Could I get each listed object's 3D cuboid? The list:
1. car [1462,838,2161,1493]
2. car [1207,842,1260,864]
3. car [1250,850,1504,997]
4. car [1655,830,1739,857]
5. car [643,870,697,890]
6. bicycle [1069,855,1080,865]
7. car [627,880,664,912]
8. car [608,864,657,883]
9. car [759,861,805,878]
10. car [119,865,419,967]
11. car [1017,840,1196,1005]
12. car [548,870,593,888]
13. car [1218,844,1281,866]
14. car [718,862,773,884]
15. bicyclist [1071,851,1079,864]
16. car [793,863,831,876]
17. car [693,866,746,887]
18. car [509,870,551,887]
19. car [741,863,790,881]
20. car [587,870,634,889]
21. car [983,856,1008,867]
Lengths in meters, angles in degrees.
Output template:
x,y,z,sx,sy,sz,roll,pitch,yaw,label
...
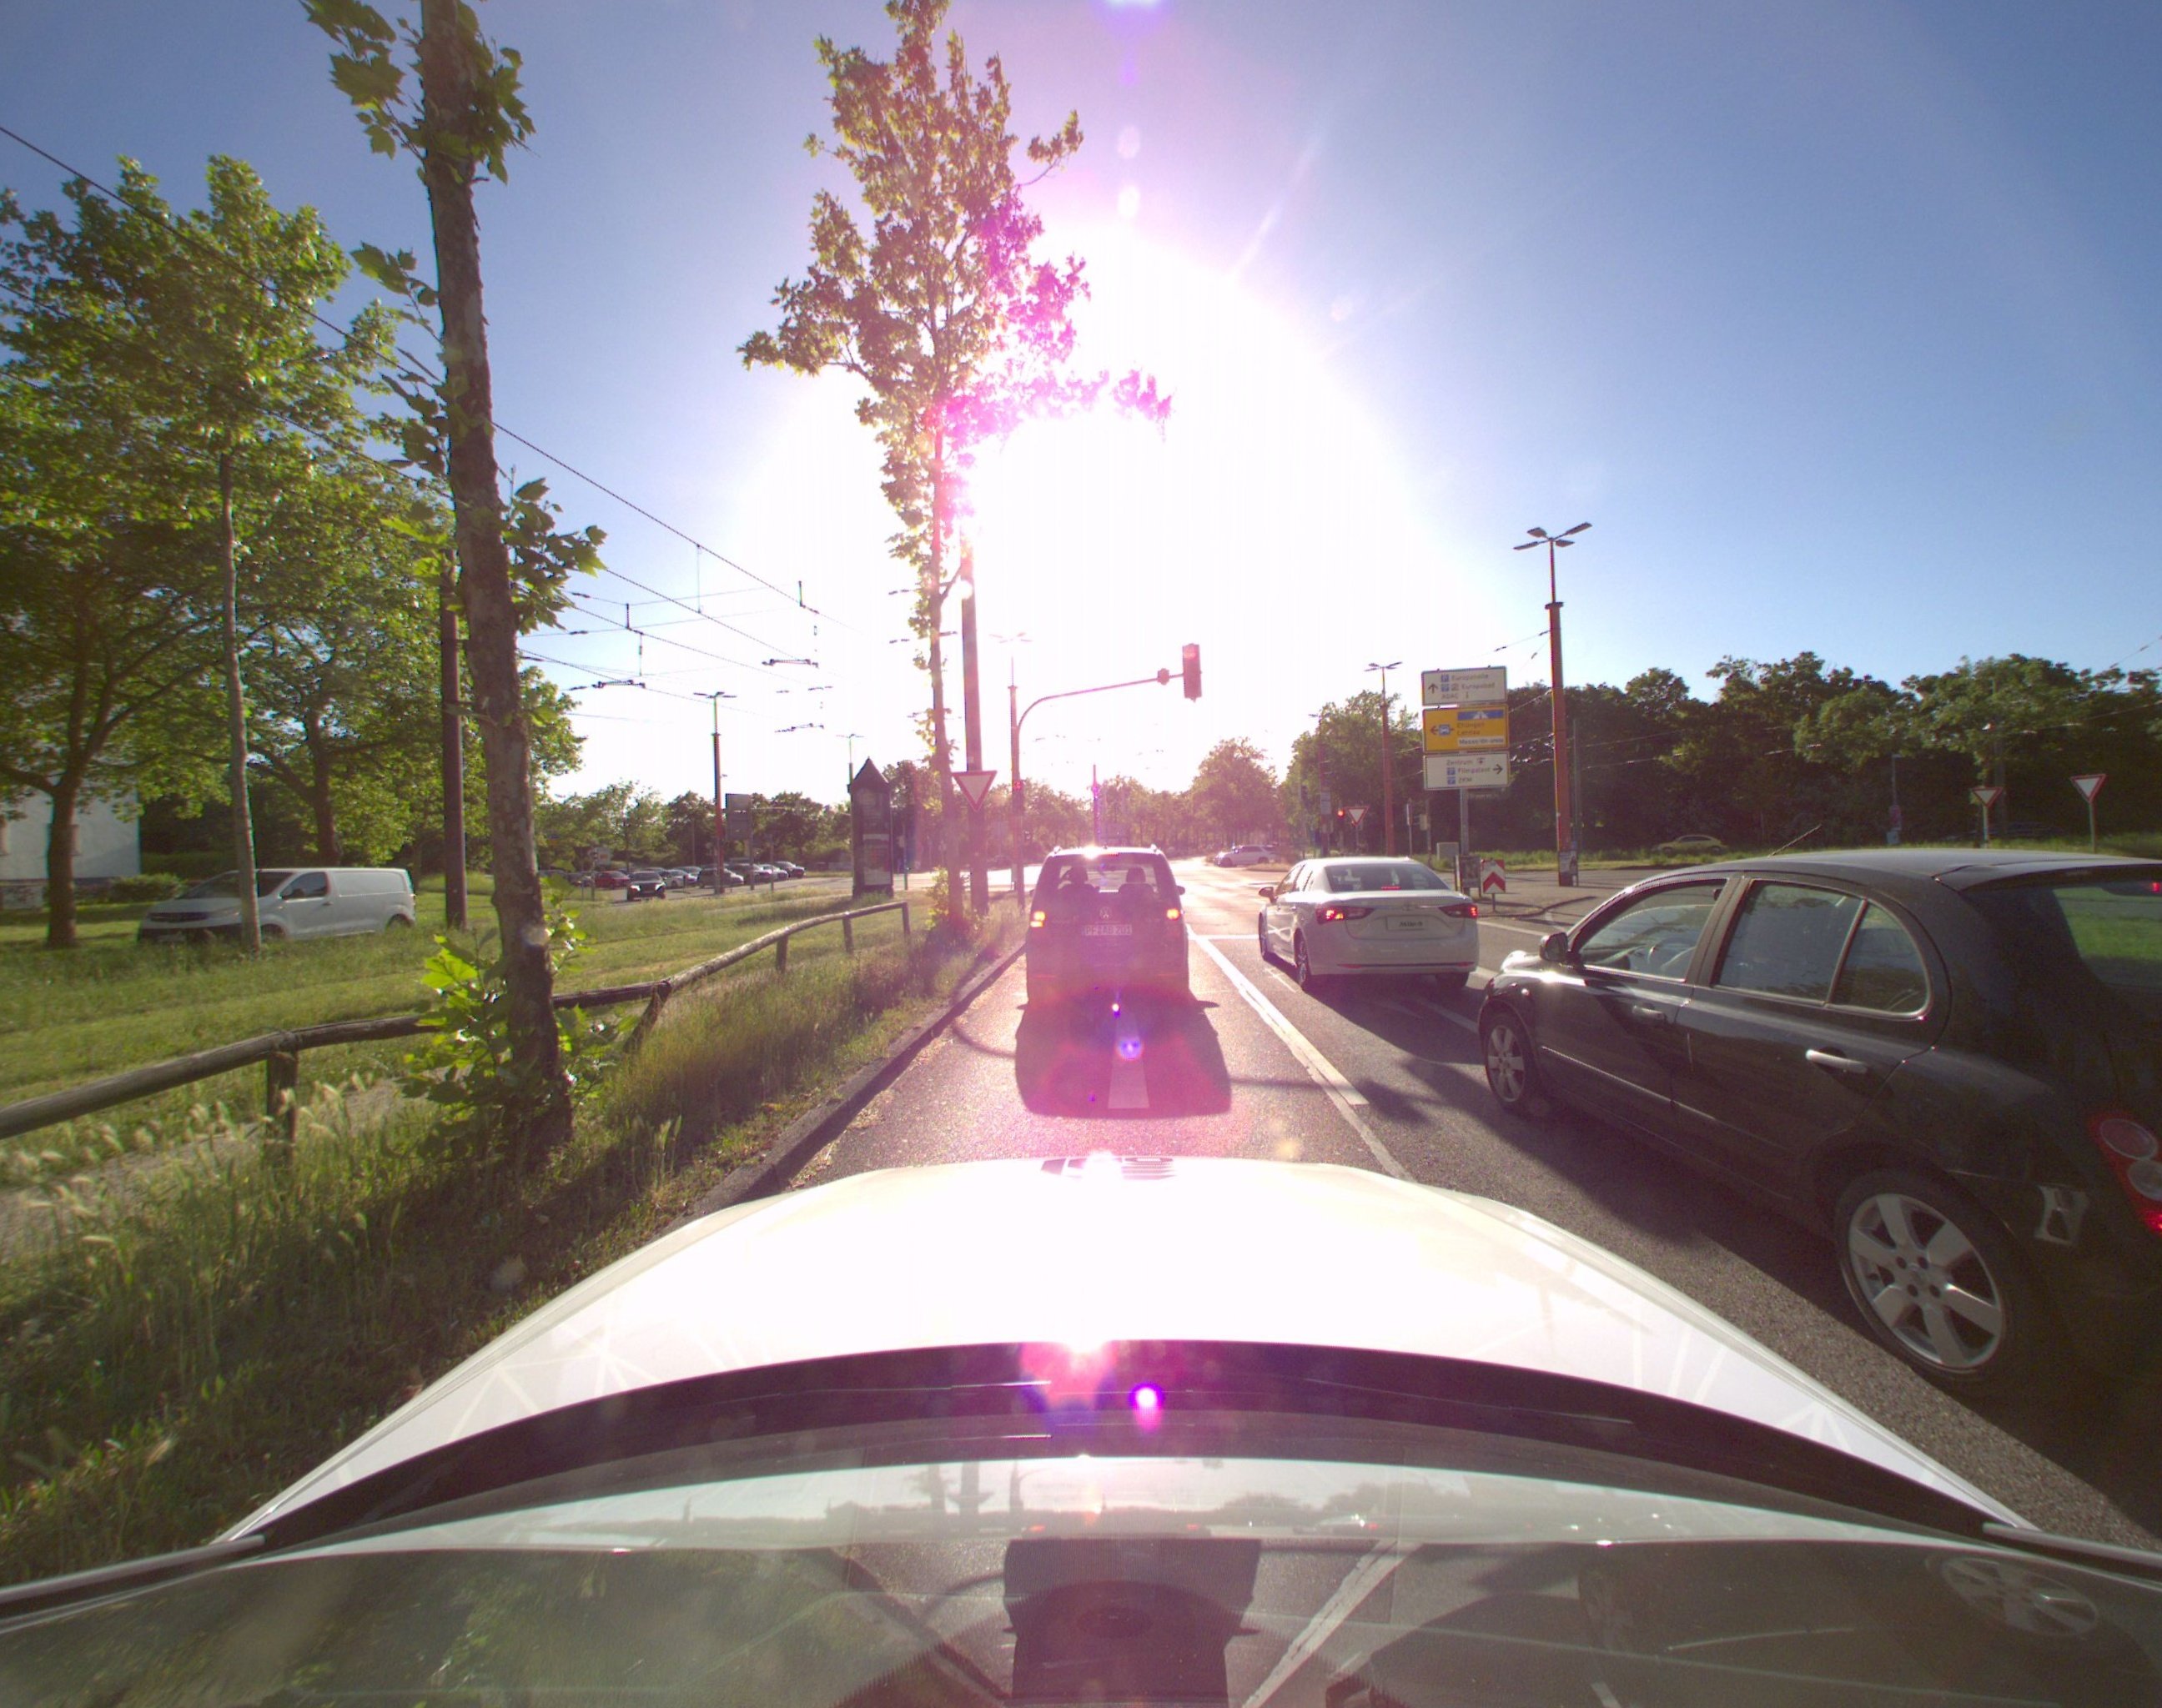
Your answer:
x,y,z,sx,sy,sz,roll,pitch,yaw,label
3.173,0.692,3.500,1.570,1.440,3.443,0,-1,2,car
12.917,-0.067,68.888,4.080,1.750,1.666,-1,0,27,car
3.366,0.706,10.198,1.792,1.440,4.329,0,-1,3,car
40.494,-0.663,53.670,4.164,1.681,1.667,-1,0,28,car
-32.672,2.073,64.742,4.577,1.520,1.667,-1,0,32,car
-0.939,0.898,125.039,0.969,1.388,2.991,-2,0,14,bicycle
-25.185,2.408,47.229,1.660,1.618,4.258,-1,0,-26,car
-40.463,1.726,73.440,4.583,1.647,1.767,-1,0,32,car
-26.738,1.381,72.821,4.102,1.415,1.553,-1,0,28,car
-17.412,1.212,17.932,1.823,1.821,4.897,-1,0,-3,car
0.359,0.687,10.093,1.731,1.602,4.329,0,-1,3,car
-45.087,2.219,71.910,4.145,1.520,1.667,-1,0,32,car
13.410,0.071,64.814,4.616,1.625,1.667,-1,0,28,car
-26.934,1.515,65.360,4.583,1.647,1.667,-1,0,32,car
-0.939,0.514,125.082,0.969,1.904,1.054,-2,0,14,bicyclist
-30.700,1.784,92.996,4.080,1.403,1.666,-1,0,27,car
-27.338,1.694,61.578,3.793,1.441,1.667,-1,0,29,car
-51.134,2.259,75.531,4.145,1.520,1.667,-1,0,32,car
-26.841,1.523,69.197,4.102,1.415,1.553,-1,0,28,car
-39.449,2.149,68.260,4.145,1.520,1.667,-1,0,32,car
-11.013,0.971,105.231,1.638,1.403,4.150,-1,0,17,car
